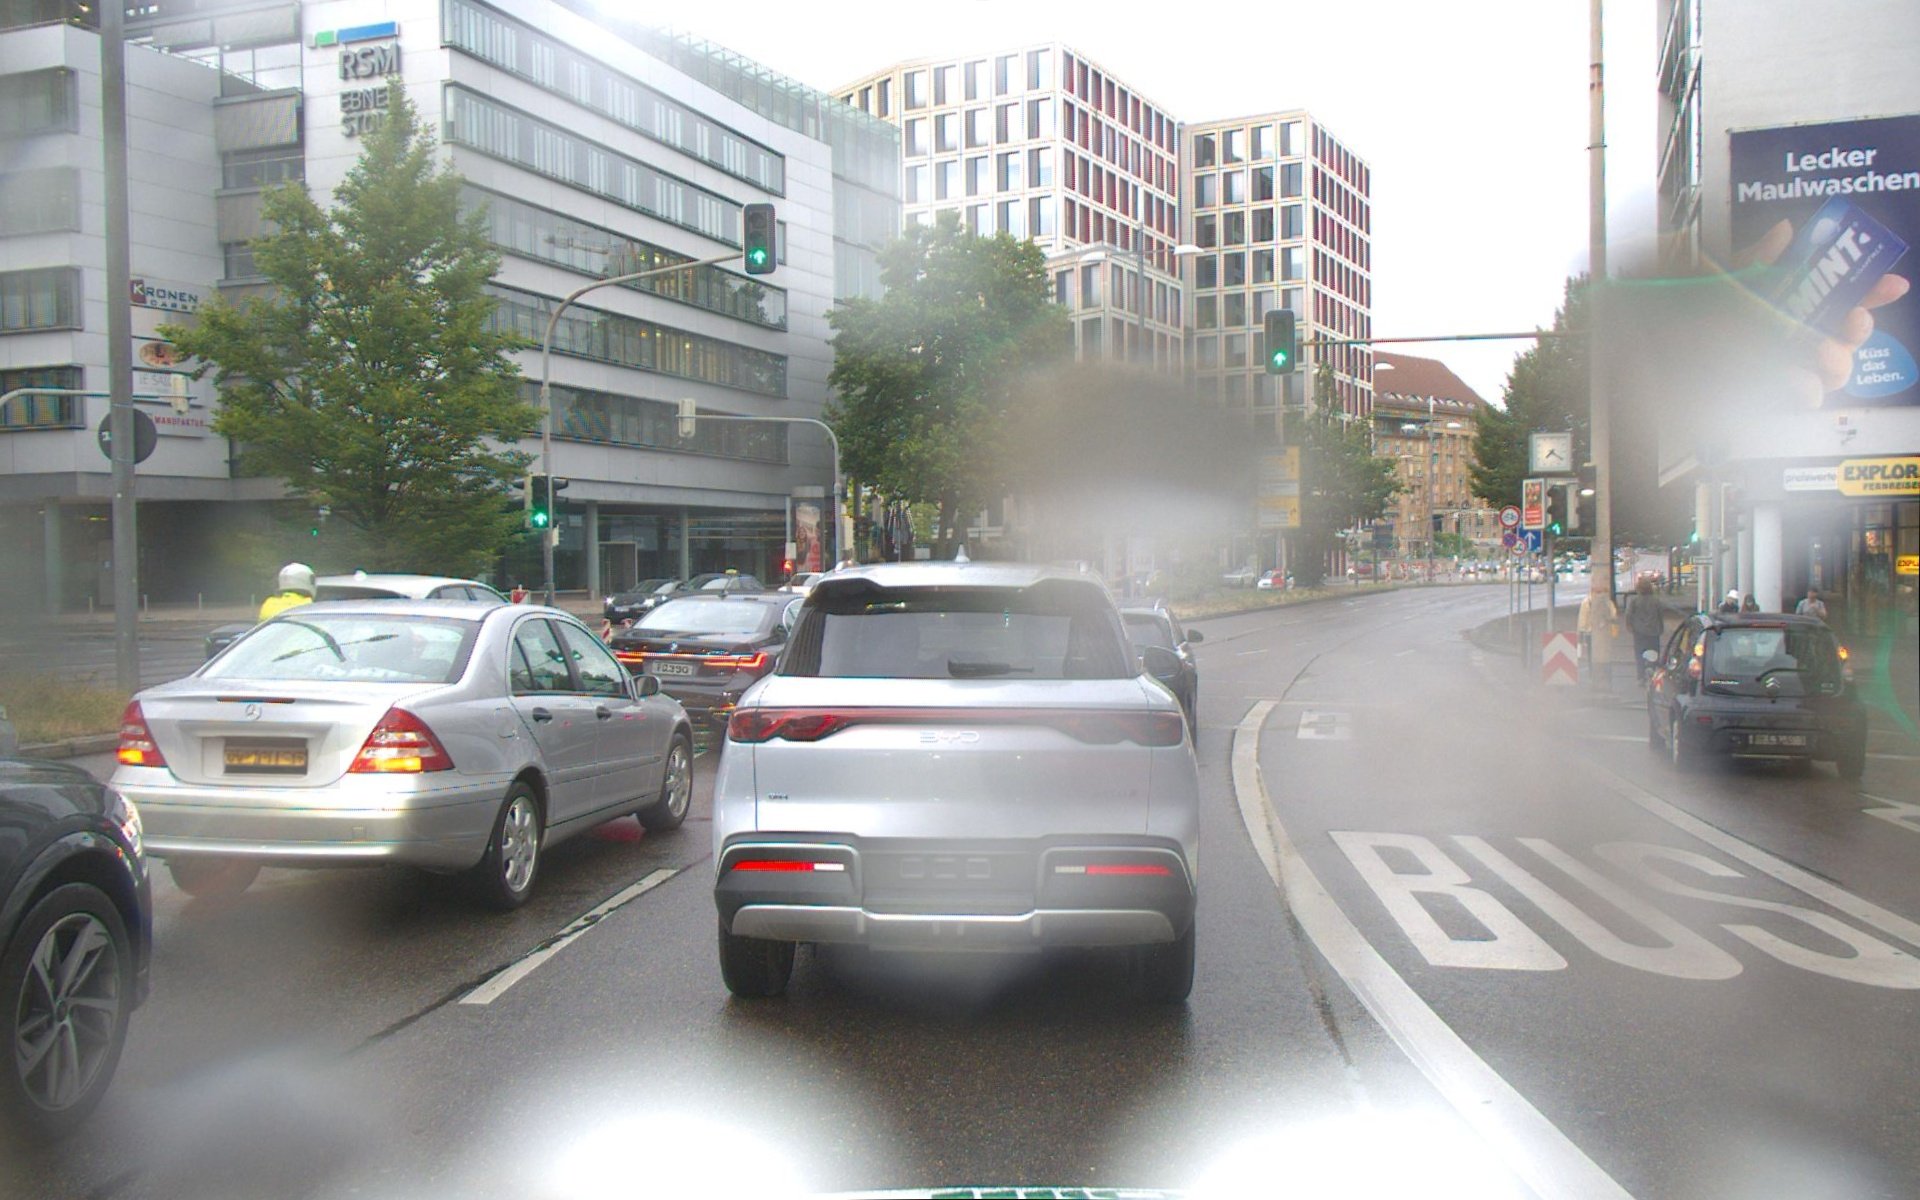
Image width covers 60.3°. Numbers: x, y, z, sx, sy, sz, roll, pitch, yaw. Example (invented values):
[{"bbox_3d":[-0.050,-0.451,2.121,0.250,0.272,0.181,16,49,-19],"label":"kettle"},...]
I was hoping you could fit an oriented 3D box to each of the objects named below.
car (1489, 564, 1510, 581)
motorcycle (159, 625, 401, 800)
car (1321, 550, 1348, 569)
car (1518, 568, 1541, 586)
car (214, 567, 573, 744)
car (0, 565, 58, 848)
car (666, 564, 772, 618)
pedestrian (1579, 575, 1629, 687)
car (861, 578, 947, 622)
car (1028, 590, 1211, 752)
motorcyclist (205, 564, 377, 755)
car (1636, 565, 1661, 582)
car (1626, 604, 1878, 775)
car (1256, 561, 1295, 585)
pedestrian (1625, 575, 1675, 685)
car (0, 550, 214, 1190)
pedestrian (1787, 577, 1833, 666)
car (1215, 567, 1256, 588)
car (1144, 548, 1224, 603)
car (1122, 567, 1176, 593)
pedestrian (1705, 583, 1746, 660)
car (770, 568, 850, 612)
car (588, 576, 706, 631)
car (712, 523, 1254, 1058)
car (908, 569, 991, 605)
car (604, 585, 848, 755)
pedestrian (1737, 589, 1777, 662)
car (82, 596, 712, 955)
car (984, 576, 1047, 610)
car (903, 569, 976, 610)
[{"bbox_3d":[67.213,-3.368,205.997,1.954,2.049,3.996,1,0,26],"label":"car"},{"bbox_3d":[-5.180,0.811,12.770,0.783,1.205,2.030,1,0,8],"label":"motorcycle"},{"bbox_3d":[37.190,-4.027,164.107,1.577,1.771,3.437,1,0,31],"label":"car"},{"bbox_3d":[52.689,-2.104,152.913,1.849,1.671,4.000,1,1,22],"label":"car"},{"bbox_3d":[-5.421,0.493,16.416,1.670,1.512,4.003,1,0,9],"label":"car"},{"bbox_3d":[-6.321,0.591,7.285,1.826,1.560,4.780,1,1,4],"label":"car"},{"bbox_3d":[-7.270,-0.290,50.278,1.609,1.563,4.155,1,0,16],"label":"car"},{"bbox_3d":[10.700,0.503,27.498,0.733,1.829,0.817,0,1,20],"label":"pedestrian"},{"bbox_3d":[-1.853,0.024,56.145,1.655,1.409,3.870,1,0,18],"label":"car"},{"bbox_3d":[1.816,0.681,17.752,1.657,1.512,4.003,1,0,10],"label":"car"},{"bbox_3d":[-5.176,0.445,12.859,0.753,1.404,1.119,1,0,9],"label":"motorcyclist"},{"bbox_3d":[62.984,-2.409,151.253,1.662,1.512,3.993,1,0,29],"label":"car"},{"bbox_3d":[7.694,0.787,16.414,1.537,1.454,4.003,1,0,15],"label":"car"},{"bbox_3d":[19.208,-1.653,100.623,1.598,1.462,3.907,0,1,23],"label":"car"},{"bbox_3d":[11.704,0.490,28.075,0.733,1.829,0.817,0,1,20],"label":"pedestrian"},{"bbox_3d":[-3.116,0.652,2.979,1.614,1.548,4.271,1,1,0],"label":"car"},{"bbox_3d":[17.720,0.448,34.468,0.659,1.825,0.768,1,0,43],"label":"pedestrian"},{"bbox_3d":[20.521,-1.653,123.084,1.955,1.514,3.996,0,1,27],"label":"car"},{"bbox_3d":[8.861,-0.936,65.149,1.953,2.049,4.848,1,0,22],"label":"car"},{"bbox_3d":[11.194,-1.185,97.889,1.955,1.514,3.996,0,1,27],"label":"car"},{"bbox_3d":[17.030,0.475,36.787,0.659,1.684,0.649,1,0,43],"label":"pedestrian"},{"bbox_3d":[-5.767,-0.370,63.911,1.604,1.598,3.719,1,0,20],"label":"car"},{"bbox_3d":[-9.992,0.089,53.072,1.952,1.638,4.001,2,1,20],"label":"car"},{"bbox_3d":[0.119,0.626,7.381,1.739,1.708,4.000,1,0,1],"label":"car"},{"bbox_3d":[-0.437,-0.621,75.187,1.777,1.536,5.193,0,1,24],"label":"car"},{"bbox_3d":[-2.270,0.644,17.054,1.537,1.512,4.003,1,0,6],"label":"car"},{"bbox_3d":[17.507,0.546,36.319,0.615,1.570,0.649,1,0,43],"label":"pedestrian"},{"bbox_3d":[-2.629,0.722,8.825,1.537,1.432,4.112,1,0,7],"label":"car"},{"bbox_3d":[2.759,-0.383,81.436,1.598,1.586,4.592,0,1,23],"label":"car"},{"bbox_3d":[-0.792,-0.439,67.357,1.610,1.608,4.086,1,0,21],"label":"car"}]
